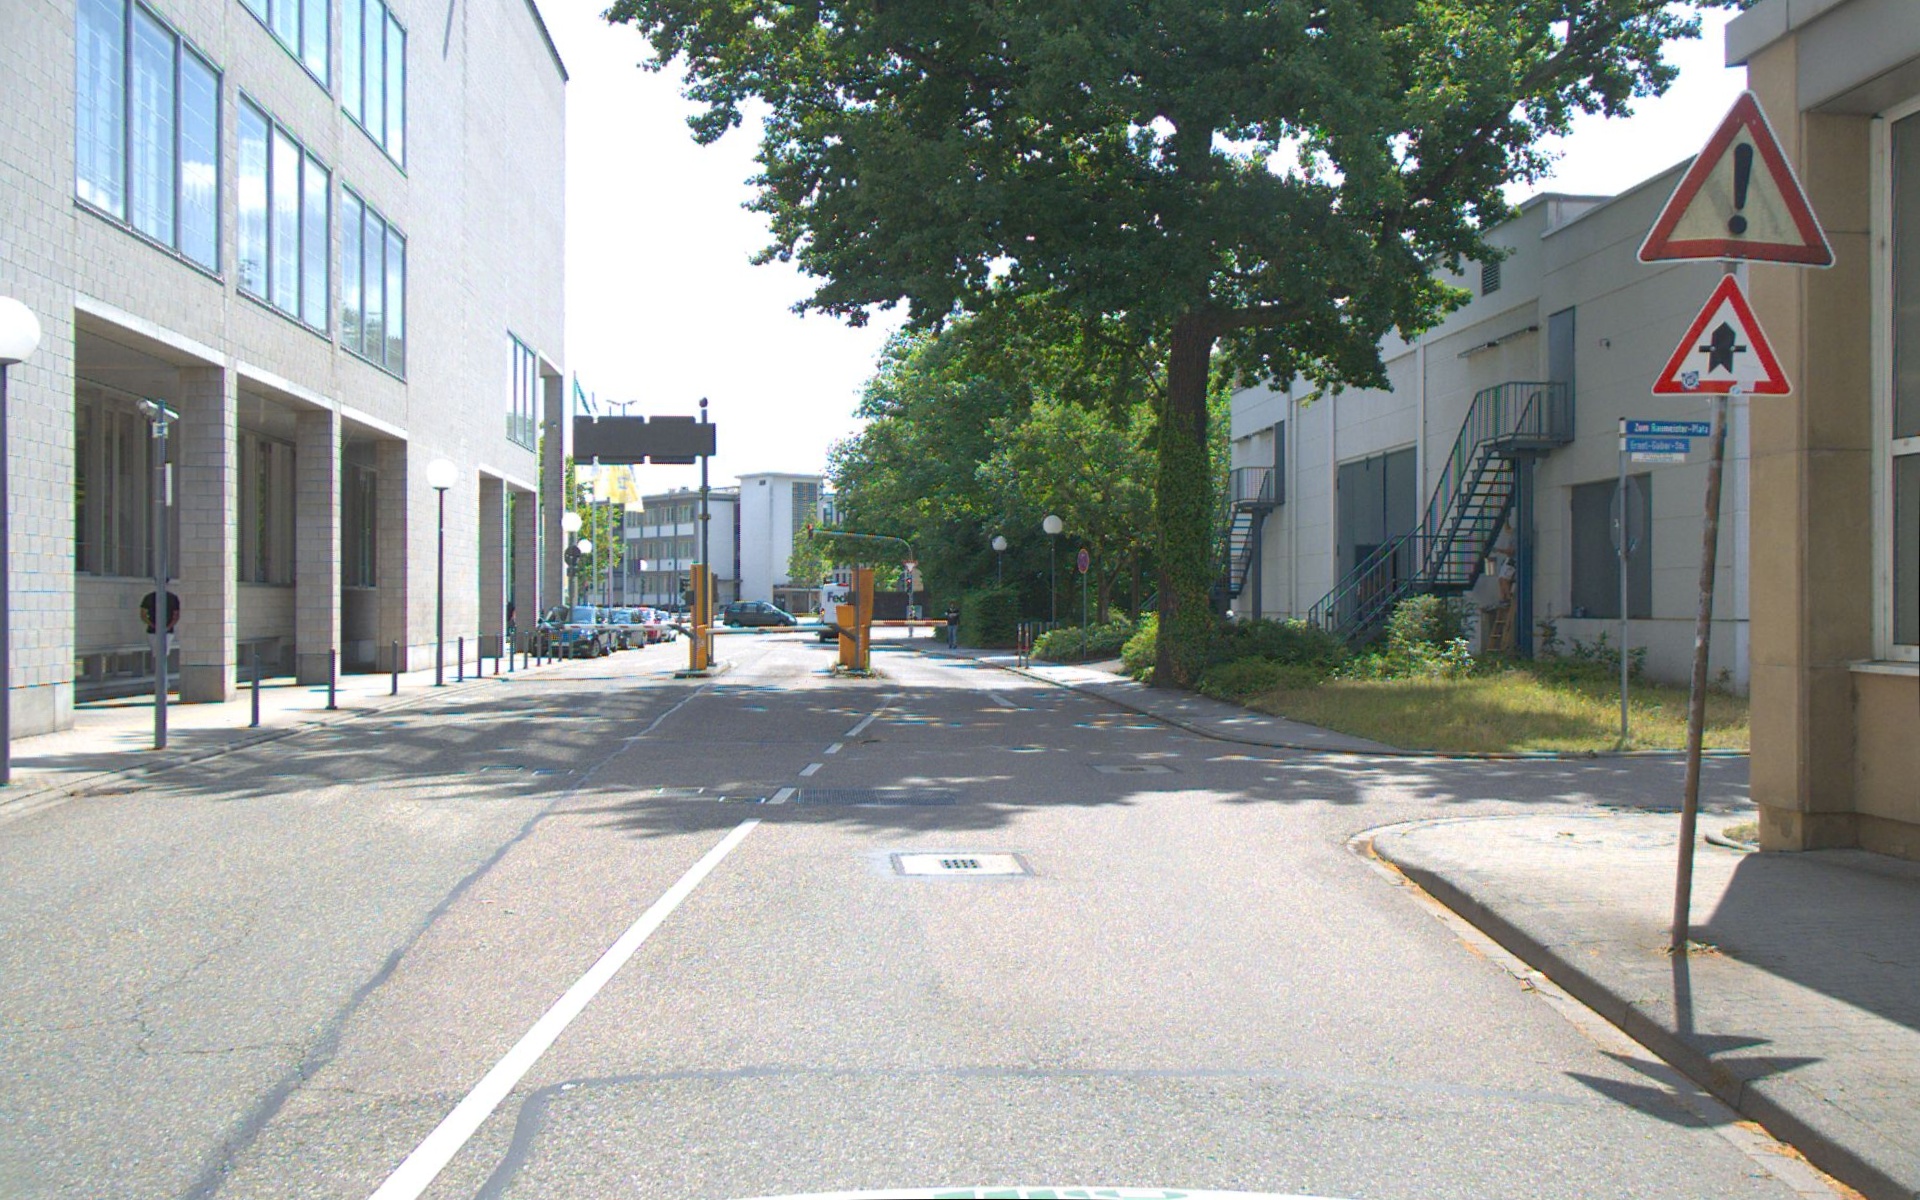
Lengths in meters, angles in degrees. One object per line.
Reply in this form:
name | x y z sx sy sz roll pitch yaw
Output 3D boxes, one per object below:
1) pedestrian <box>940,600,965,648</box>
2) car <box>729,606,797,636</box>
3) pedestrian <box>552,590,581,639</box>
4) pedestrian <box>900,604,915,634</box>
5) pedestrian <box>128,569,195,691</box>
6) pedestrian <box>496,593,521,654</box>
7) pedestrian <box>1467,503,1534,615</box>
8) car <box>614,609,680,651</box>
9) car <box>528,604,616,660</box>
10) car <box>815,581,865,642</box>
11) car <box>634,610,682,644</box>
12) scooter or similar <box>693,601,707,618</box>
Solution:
pedestrian | -0.277 0.867 59.869 0.725 1.704 1.254 0 0 -8
car | -11.897 1.243 99.928 4.000 1.778 1.726 0 0 -8
pedestrian | -16.775 0.612 70.483 0.884 2.063 0.798 0 -1 24
pedestrian | -2.850 1.015 89.545 0.718 1.603 0.773 1 -1 -10
pedestrian | -12.781 0.475 26.478 0.717 1.913 0.719 1 -1 -5
pedestrian | -18.346 0.939 67.209 0.741 2.464 0.739 0 -1 12
pedestrian | 10.025 -0.753 30.691 0.908 2.049 0.949 0 0 -2
car | -11.326 1.058 60.069 1.823 1.402 5.010 2 0 -5
car | -11.318 0.905 48.517 1.823 1.493 4.713 2 0 -5
car | -5.400 0.483 73.914 2.055 2.611 5.595 0 0 -6
car | -13.911 1.233 76.308 1.644 1.420 4.658 2 0 -5
scooter or similar | -19.025 0.680 121.172 0.705 1.199 2.713 0 0 -16
